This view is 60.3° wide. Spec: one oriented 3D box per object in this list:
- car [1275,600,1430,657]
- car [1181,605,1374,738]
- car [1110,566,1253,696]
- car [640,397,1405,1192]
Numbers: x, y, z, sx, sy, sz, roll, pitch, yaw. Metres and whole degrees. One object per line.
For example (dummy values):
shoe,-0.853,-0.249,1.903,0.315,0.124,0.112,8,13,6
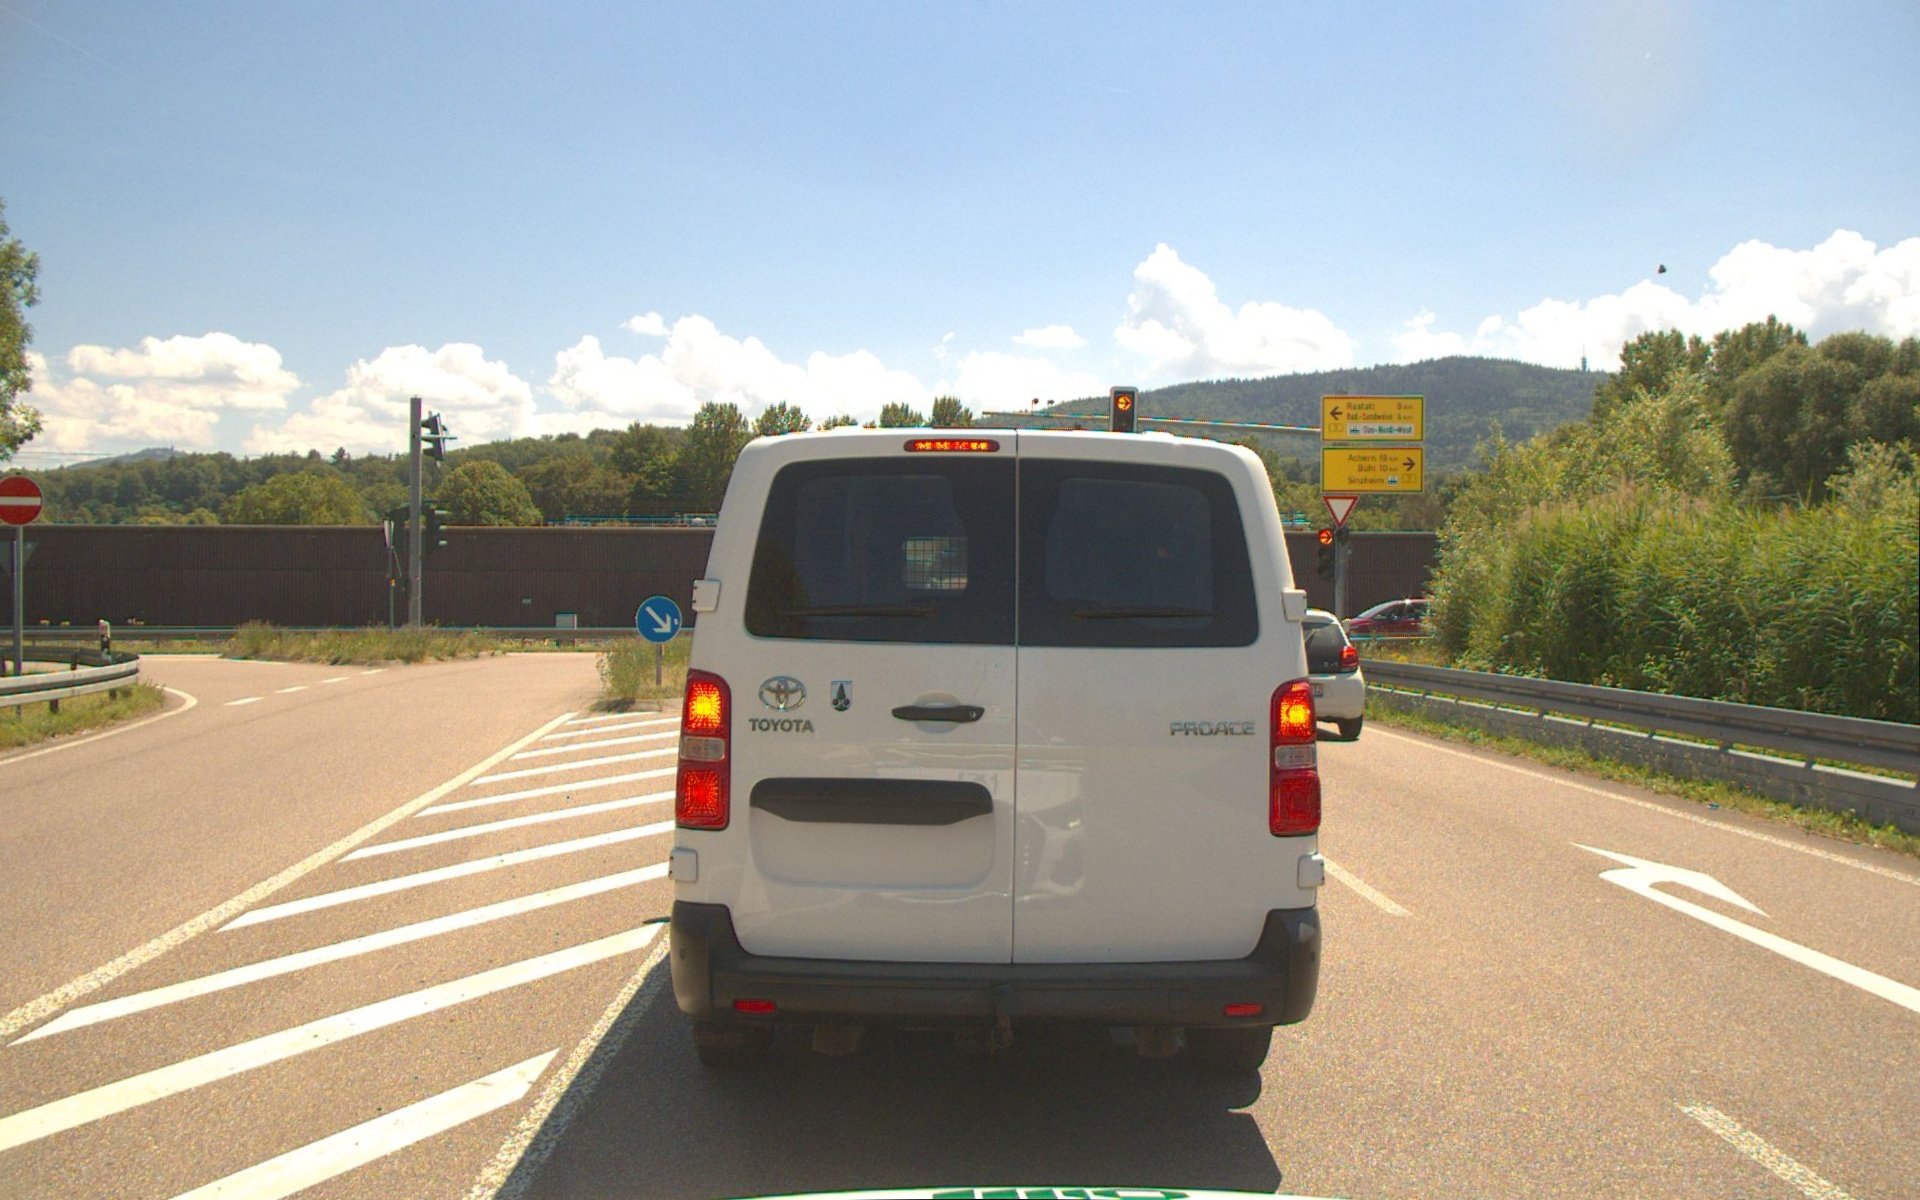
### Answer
car,11.927,0.848,50.427,4.225,1.685,1.998,0,0,-4
car,3.760,0.802,20.091,1.622,1.456,3.364,1,0,-1
car,3.732,0.504,28.691,1.889,2.035,4.838,1,0,1
car,0.118,0.488,6.043,1.848,1.919,3.999,1,0,-1
